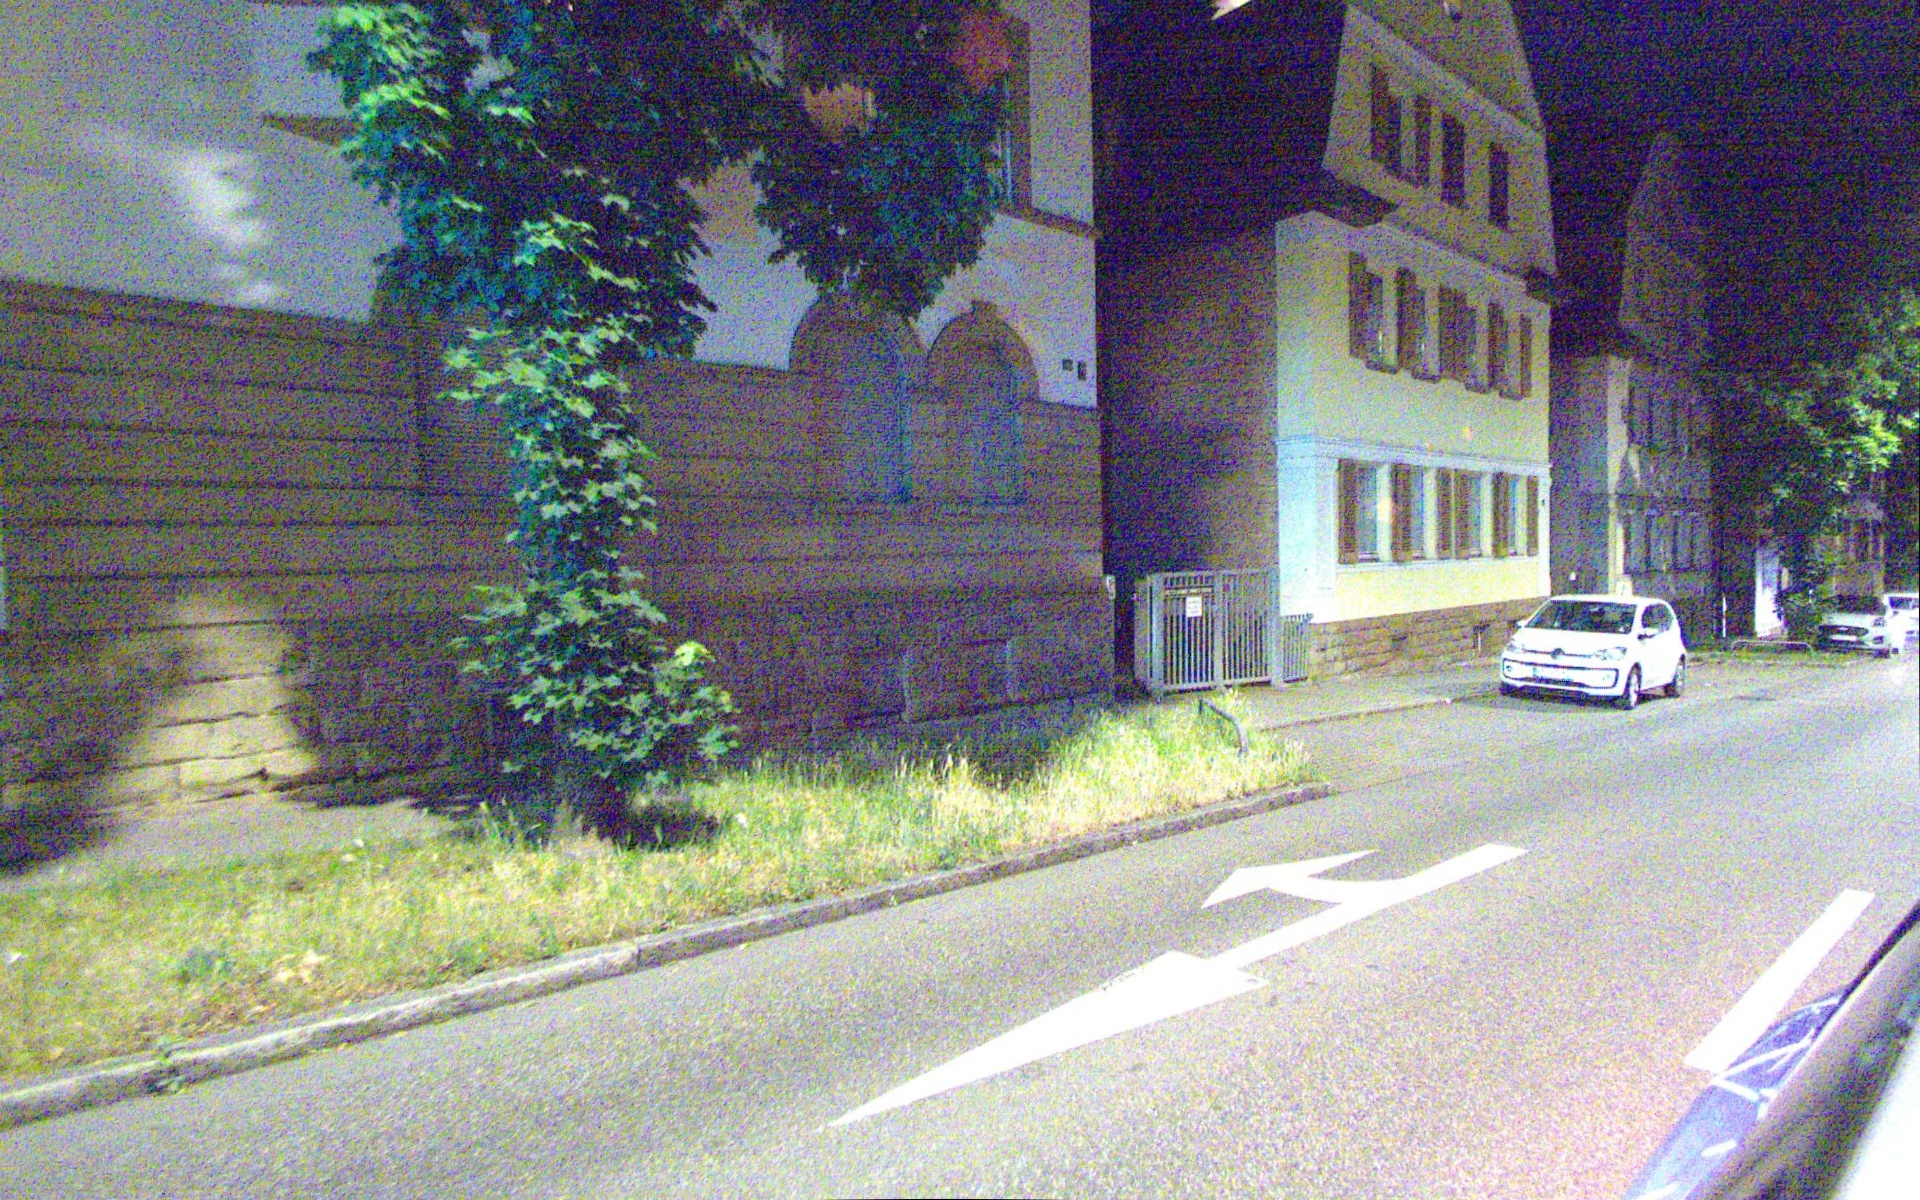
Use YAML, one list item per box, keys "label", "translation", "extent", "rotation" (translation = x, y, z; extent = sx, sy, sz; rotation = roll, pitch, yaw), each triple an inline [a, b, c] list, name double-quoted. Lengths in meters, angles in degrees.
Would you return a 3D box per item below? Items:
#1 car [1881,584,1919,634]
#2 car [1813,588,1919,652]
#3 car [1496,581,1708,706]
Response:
- label: "car"
  translation: [33.508, 0.296, 35.123]
  extent: [4.107, 1.673, 1.850]
  rotation: [0, 0, -42]
- label: "car"
  translation: [23.584, 0.455, 26.265]
  extent: [3.824, 1.516, 1.740]
  rotation: [0, 2, -43]
- label: "car"
  translation: [9.226, 0.531, 14.453]
  extent: [3.425, 1.527, 1.610]
  rotation: [0, 2, -41]
